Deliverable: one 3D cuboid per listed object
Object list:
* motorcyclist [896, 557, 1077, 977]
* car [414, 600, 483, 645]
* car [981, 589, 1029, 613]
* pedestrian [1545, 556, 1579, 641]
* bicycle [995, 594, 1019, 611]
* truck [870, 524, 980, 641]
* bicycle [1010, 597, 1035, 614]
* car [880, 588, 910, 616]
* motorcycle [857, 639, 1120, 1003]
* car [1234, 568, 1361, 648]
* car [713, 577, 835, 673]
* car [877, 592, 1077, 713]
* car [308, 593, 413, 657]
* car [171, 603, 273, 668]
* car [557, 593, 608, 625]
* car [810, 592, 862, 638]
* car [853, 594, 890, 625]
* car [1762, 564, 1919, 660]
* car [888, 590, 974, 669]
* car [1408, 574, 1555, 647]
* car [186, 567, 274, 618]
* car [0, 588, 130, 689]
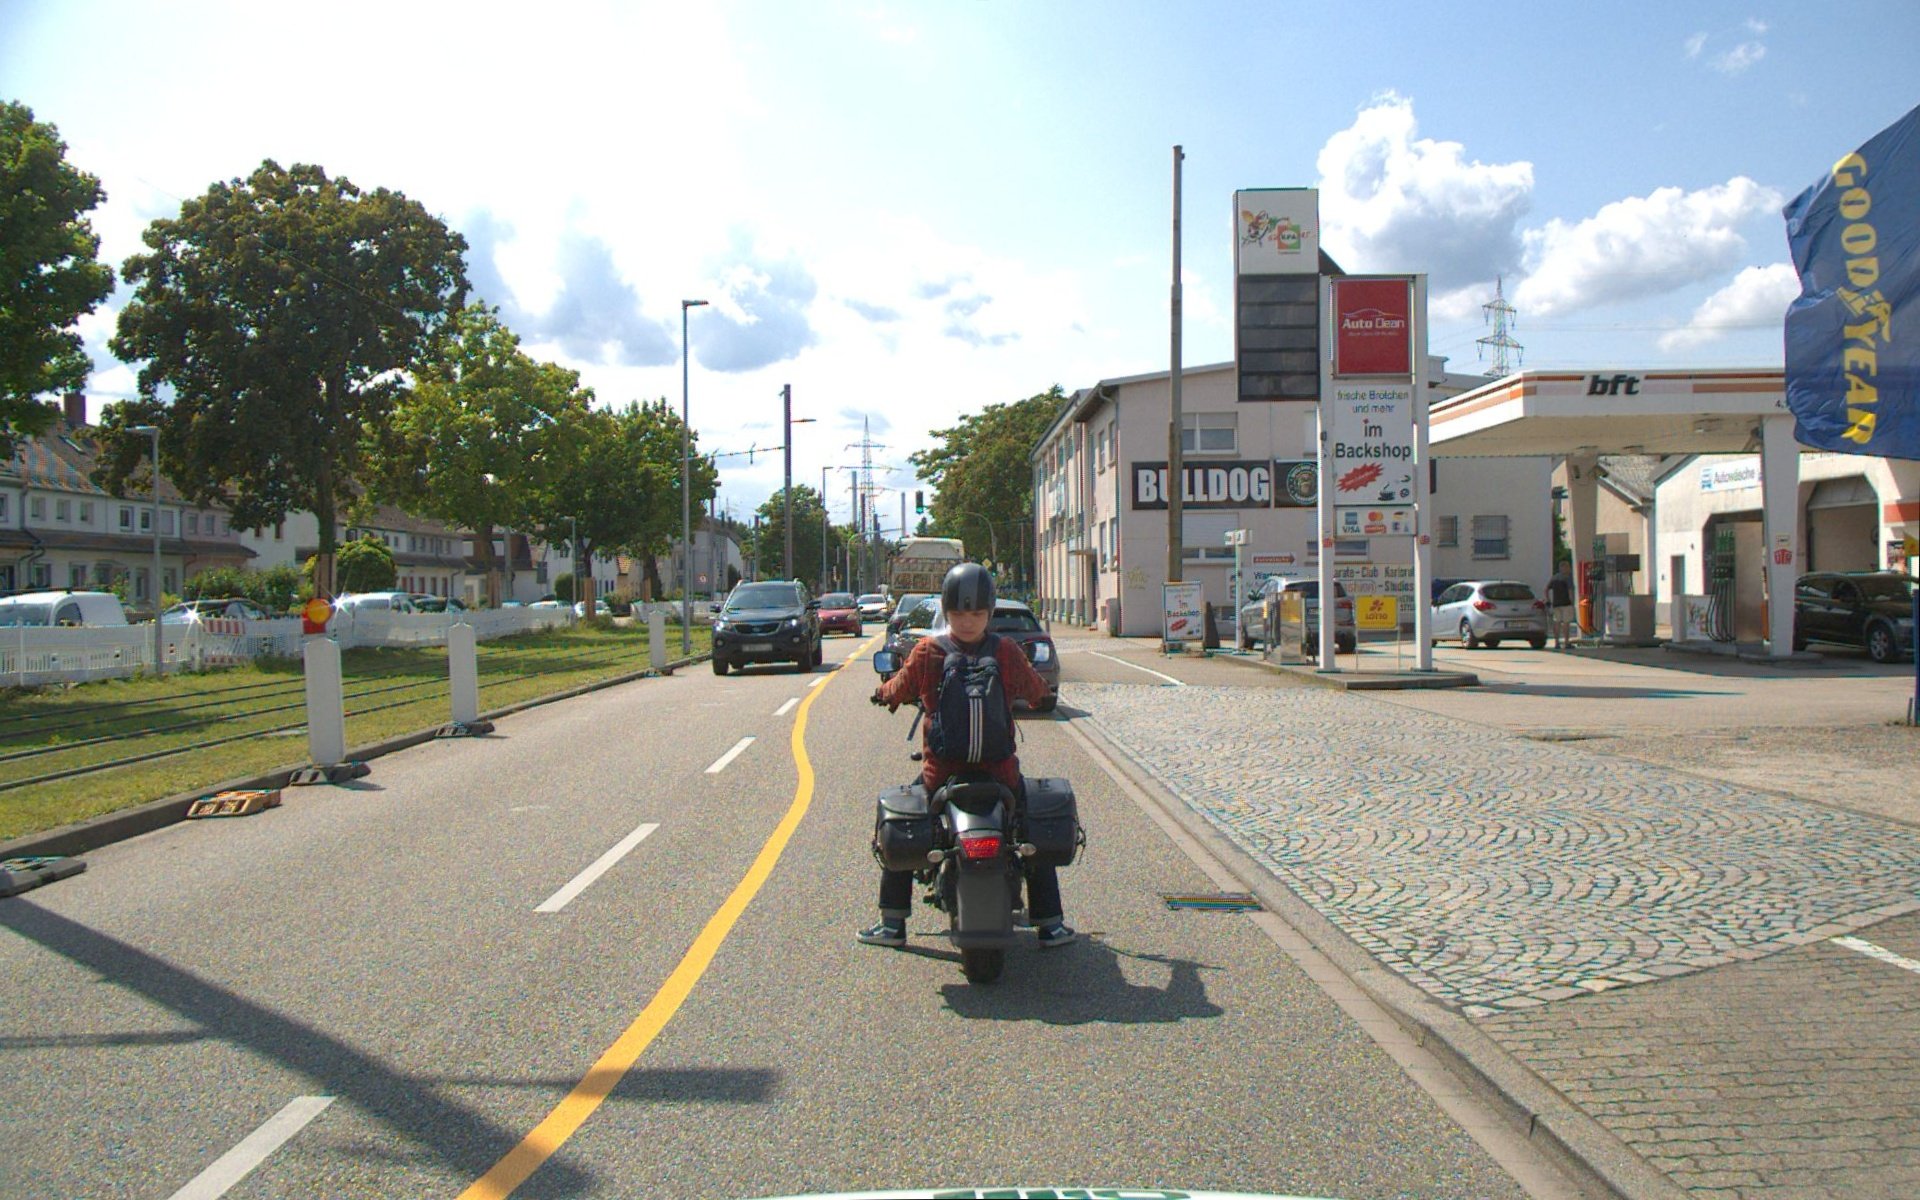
[{"bbox_3d":[0.100,0.656,6.820,0.684,1.632,0.692,1,-1,-1],"label":"motorcyclist"},{"bbox_3d":[-16.900,0.729,54.748,1.323,1.401,3.113,-2,0,-1],"label":"car"},{"bbox_3d":[3.719,0.079,136.545,1.773,1.959,3.972,0,-1,44],"label":"car"},{"bbox_3d":[12.993,-0.030,35.692,0.487,1.807,0.577,1,-1,-4],"label":"pedestrian"},{"bbox_3d":[3.333,0.159,117.750,1.672,1.192,0.438,1,-1,4],"label":"bicycle"},{"bbox_3d":[-0.932,-0.466,50.488,2.906,3.229,7.765,1,0,2],"label":"truck"},{"bbox_3d":[4.402,0.367,116.445,1.672,1.192,0.438,1,-1,4],"label":"bicycle"},{"bbox_3d":[-4.124,0.116,106.077,1.788,1.695,4.461,-2,0,-1],"label":"car"},{"bbox_3d":[0.087,0.824,7.175,0.923,1.221,2.472,1,0,-1],"label":"motorcycle"},{"bbox_3d":[7.453,0.160,36.917,1.906,1.653,4.615,0,0,0],"label":"car"},{"bbox_3d":[-3.553,0.462,32.288,1.759,1.719,4.222,-1,0,2],"label":"car"},{"bbox_3d":[0.119,0.642,22.117,1.702,1.428,4.072,1,0,-14],"label":"car"},{"bbox_3d":[-16.945,0.694,46.938,1.590,1.680,3.898,-2,0,-1],"label":"car"},{"bbox_3d":[-16.453,0.771,36.939,1.050,1.371,2.449,-2,0,3],"label":"car"},{"bbox_3d":[-17.032,0.427,74.747,1.491,1.378,3.620,1,0,-1],"label":"car"},{"bbox_3d":[-4.238,0.506,56.805,1.546,1.495,3.719,1,0,-1],"label":"car"},{"bbox_3d":[-4.548,0.487,85.561,1.784,1.470,4.482,-2,0,-2],"label":"car"},{"bbox_3d":[16.453,0.152,29.912,1.648,1.546,4.492,-1,2,-1],"label":"car"},{"bbox_3d":[-0.542,0.563,33.732,1.610,1.469,3.748,1,0,0],"label":"car"},{"bbox_3d":[11.733,0.243,37.504,1.658,1.496,4.420,-2,0,-4],"label":"car"},{"bbox_3d":[-30.548,-0.306,69.354,1.953,2.049,3.999,1,0,-2],"label":"car"},{"bbox_3d":[-16.406,0.667,29.099,1.619,1.654,4.000,-2,0,-1],"label":"car"}]
